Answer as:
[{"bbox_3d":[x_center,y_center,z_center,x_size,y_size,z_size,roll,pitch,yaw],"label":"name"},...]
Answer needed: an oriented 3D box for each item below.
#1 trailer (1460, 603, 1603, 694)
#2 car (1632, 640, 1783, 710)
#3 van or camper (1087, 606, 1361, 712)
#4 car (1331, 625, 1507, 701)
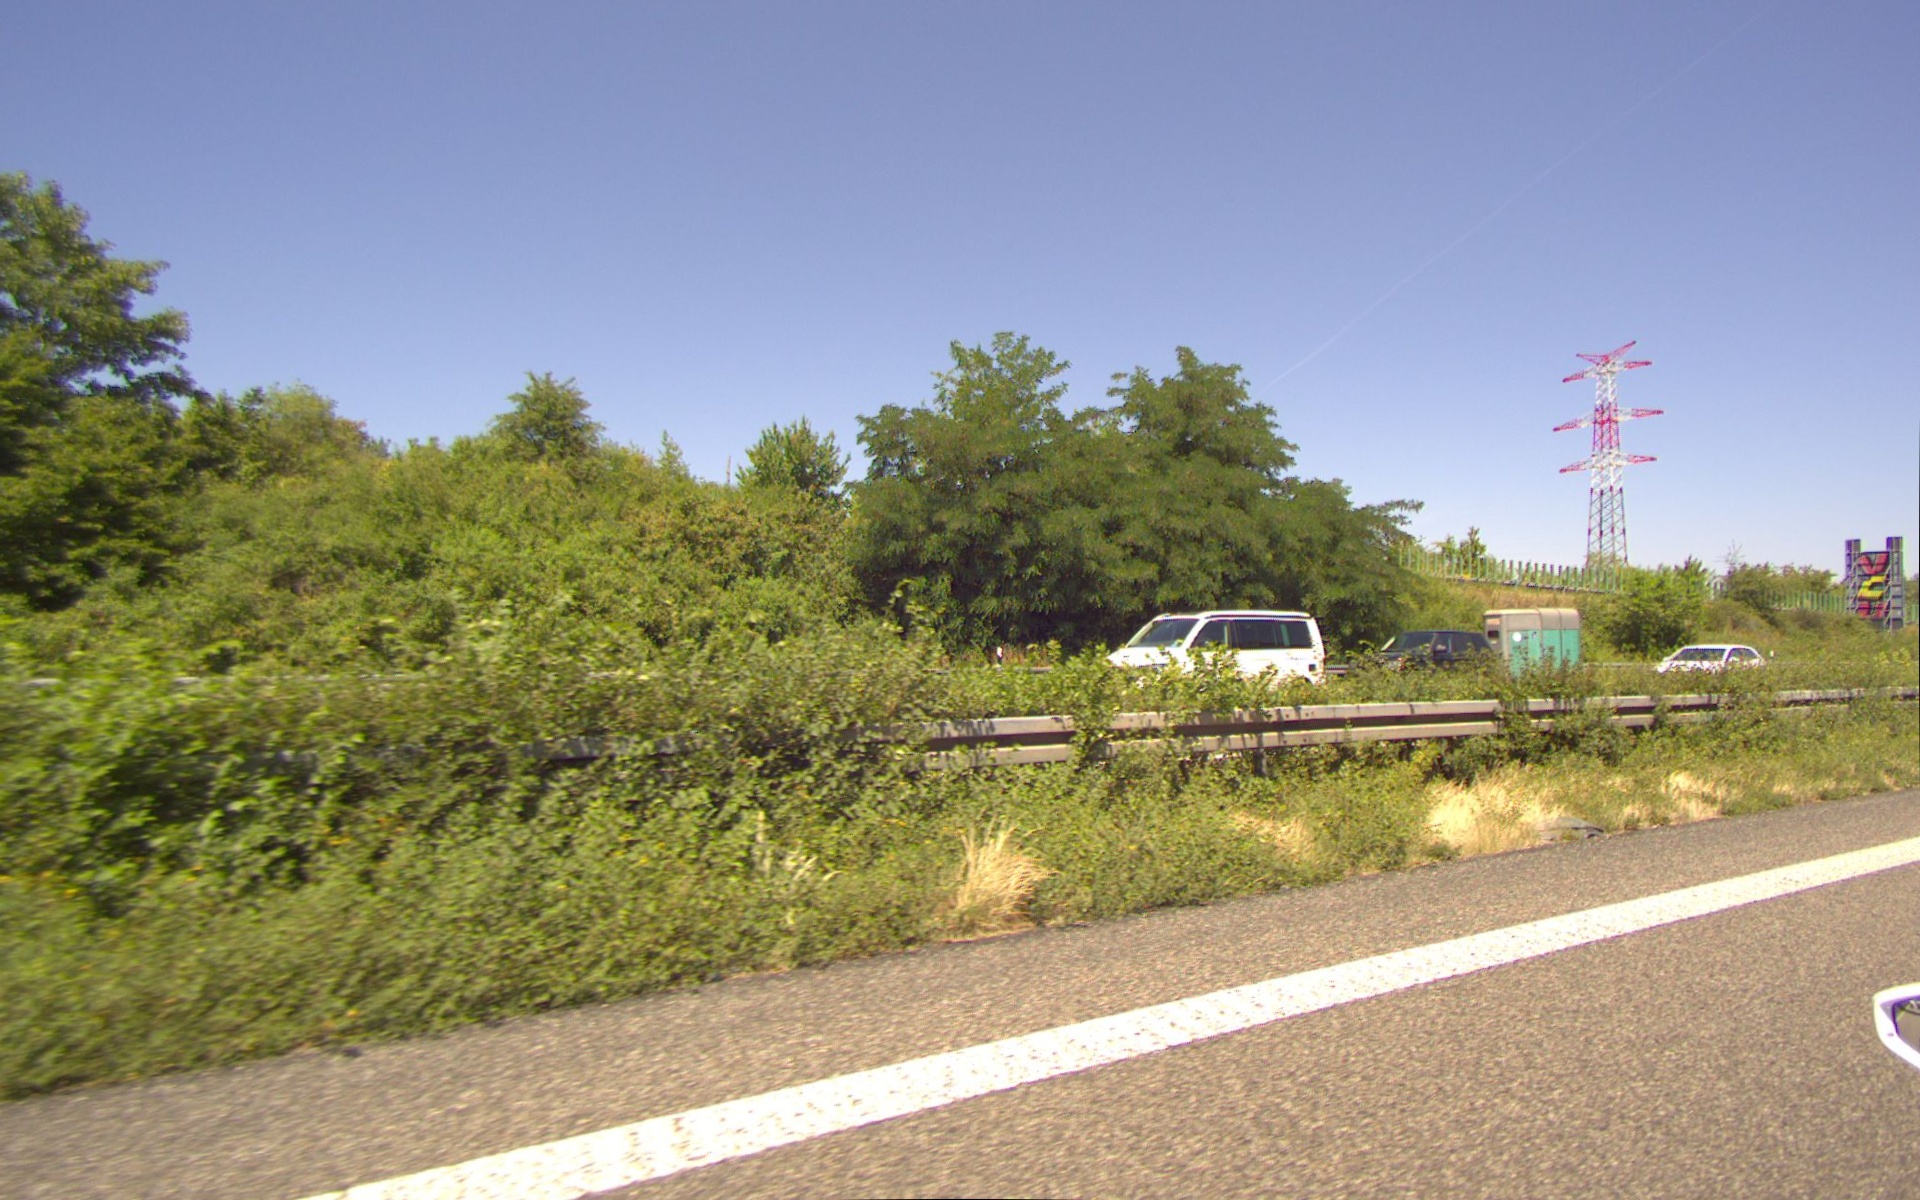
[{"bbox_3d":[17.945,1.489,31.499,4.352,2.653,1.793,1,1,-28],"label":"trailer"},{"bbox_3d":[21.514,2.102,28.882,4.305,1.789,1.775,1,1,-28],"label":"car"},{"bbox_3d":[5.158,1.079,19.442,5.146,1.789,1.958,1,1,-28],"label":"van or camper"},{"bbox_3d":[13.170,1.750,28.748,4.959,1.951,1.936,1,1,-28],"label":"car"}]
